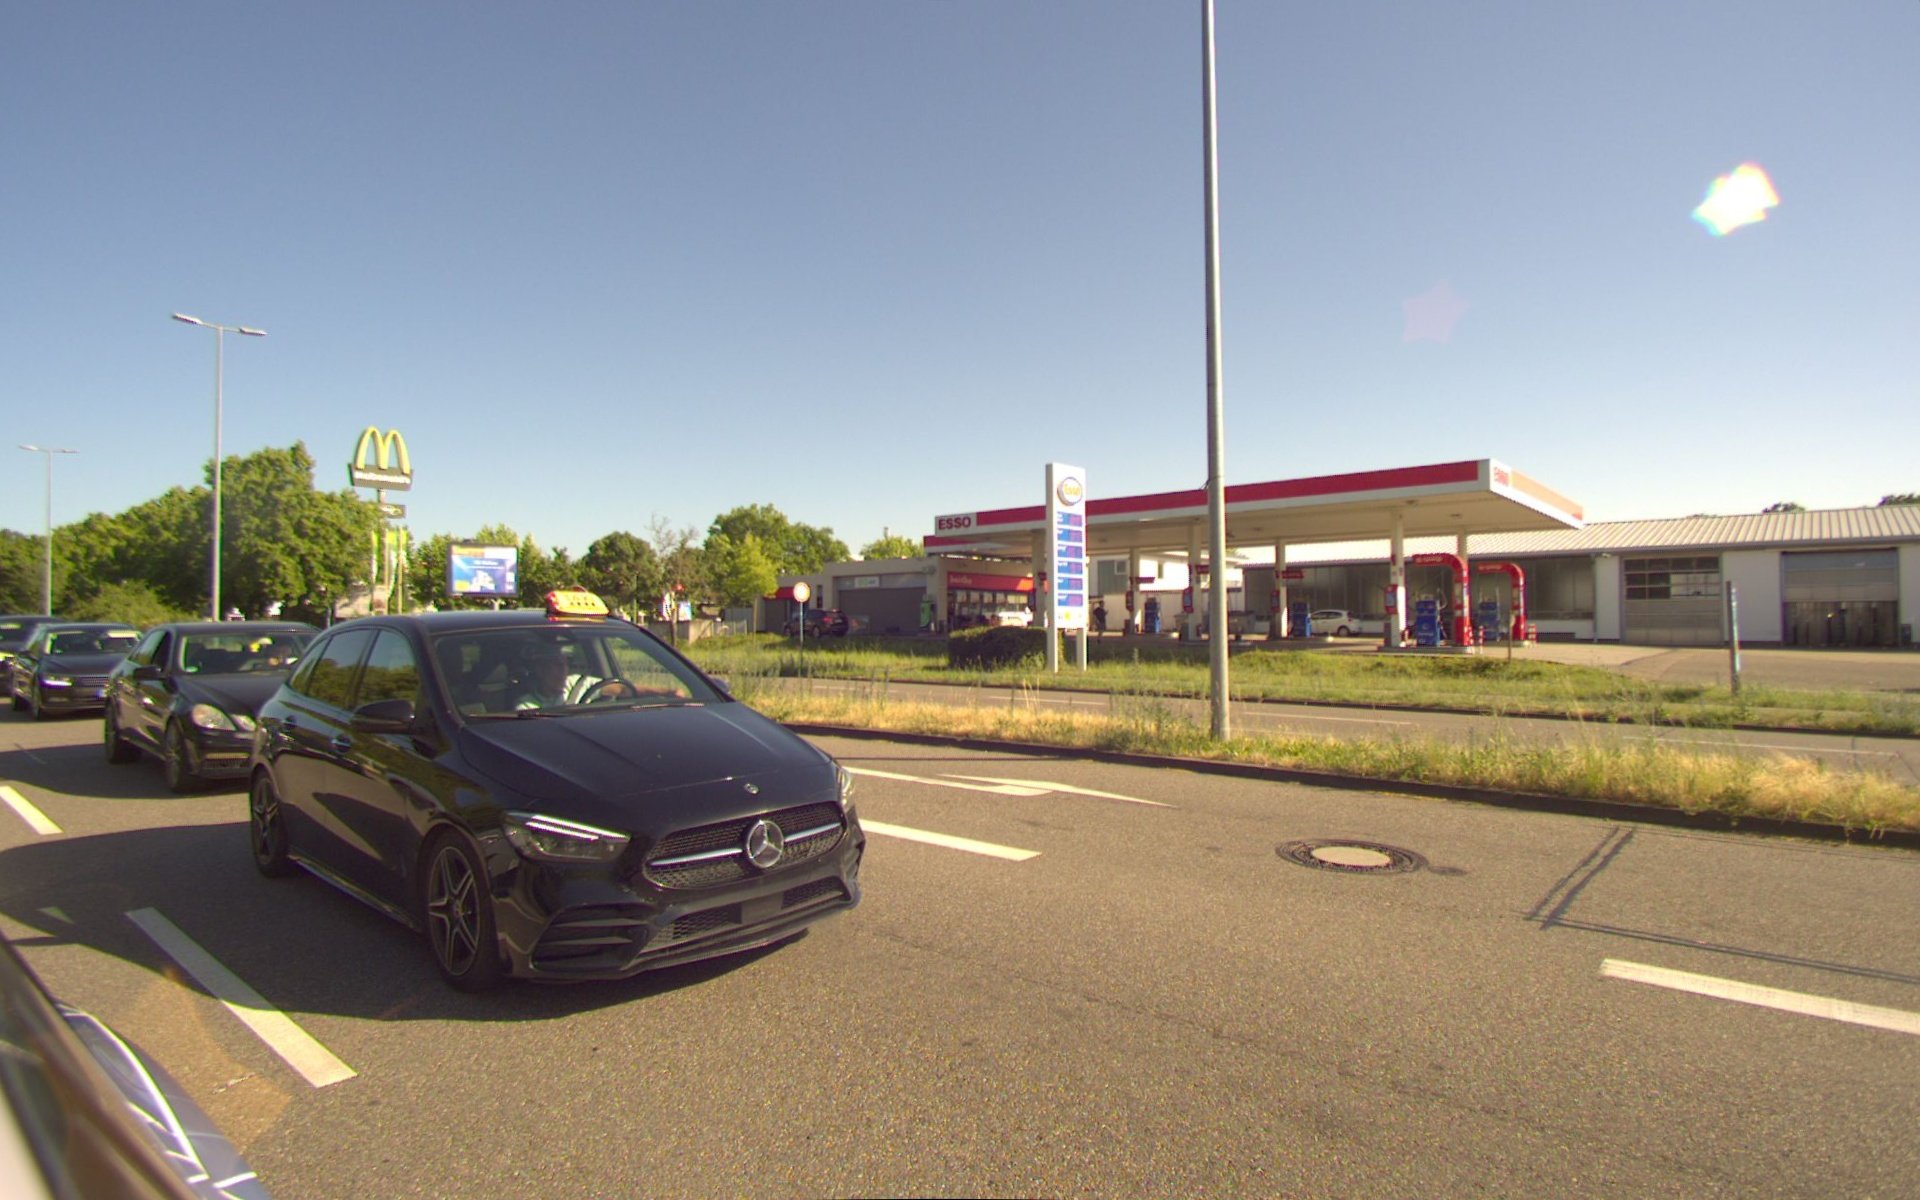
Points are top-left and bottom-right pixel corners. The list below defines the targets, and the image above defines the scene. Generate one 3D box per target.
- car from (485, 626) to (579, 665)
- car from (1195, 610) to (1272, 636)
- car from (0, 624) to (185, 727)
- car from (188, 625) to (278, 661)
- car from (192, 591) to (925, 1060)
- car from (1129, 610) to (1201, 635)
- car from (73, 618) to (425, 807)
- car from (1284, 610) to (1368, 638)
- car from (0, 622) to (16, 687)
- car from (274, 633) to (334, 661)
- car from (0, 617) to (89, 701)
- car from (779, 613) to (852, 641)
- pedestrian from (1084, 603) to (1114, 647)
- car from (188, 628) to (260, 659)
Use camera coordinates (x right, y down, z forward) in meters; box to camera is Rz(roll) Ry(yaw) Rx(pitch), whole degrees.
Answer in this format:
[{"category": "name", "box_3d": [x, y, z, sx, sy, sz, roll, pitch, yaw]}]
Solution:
[{"category": "car", "box_3d": [-16.744, 1.766, 39.533, 3.975, 1.420, 1.741, -1, -4, 40]}, {"category": "car", "box_3d": [15.821, 1.344, 58.594, 3.975, 1.420, 1.661, -1, -4, 40]}, {"category": "car", "box_3d": [-14.464, 1.156, 16.705, 4.284, 1.438, 1.775, -1, 0, 40]}, {"category": "car", "box_3d": [-30.667, 1.811, 42.675, 4.295, 1.420, 1.713, -1, -3, 35]}, {"category": "car", "box_3d": [-2.395, 0.739, 5.346, 4.400, 1.502, 1.741, -1, 0, 40]}, {"category": "car", "box_3d": [12.423, 1.388, 61.393, 3.975, 1.420, 1.661, -1, -4, 40]}, {"category": "car", "box_3d": [-7.273, 0.932, 10.173, 4.400, 1.449, 1.845, -1, 0, 40]}, {"category": "car", "box_3d": [19.824, 1.293, 54.853, 3.975, 1.420, 1.661, -1, -4, 40]}, {"category": "car", "box_3d": [-25.236, 1.371, 25.552, 3.774, 1.567, 1.615, -1, 0, 40]}, {"category": "car", "box_3d": [-37.015, 2.642, 57.070, 3.975, 1.420, 1.741, -1, -4, 40]}, {"category": "car", "box_3d": [-19.951, 1.205, 21.454, 3.876, 1.629, 1.653, -2, -1, 40]}, {"category": "car", "box_3d": [-7.880, 1.453, 54.995, 3.975, 1.420, 1.661, -1, -4, 40]}, {"category": "pedestrian", "box_3d": [5.629, 1.014, 41.019, 0.903, 1.763, 0.780, -1, 0, 41]}, {"category": "car", "box_3d": [-39.252, 2.329, 53.913, 4.872, 1.502, 1.742, -1, -4, 38]}]
